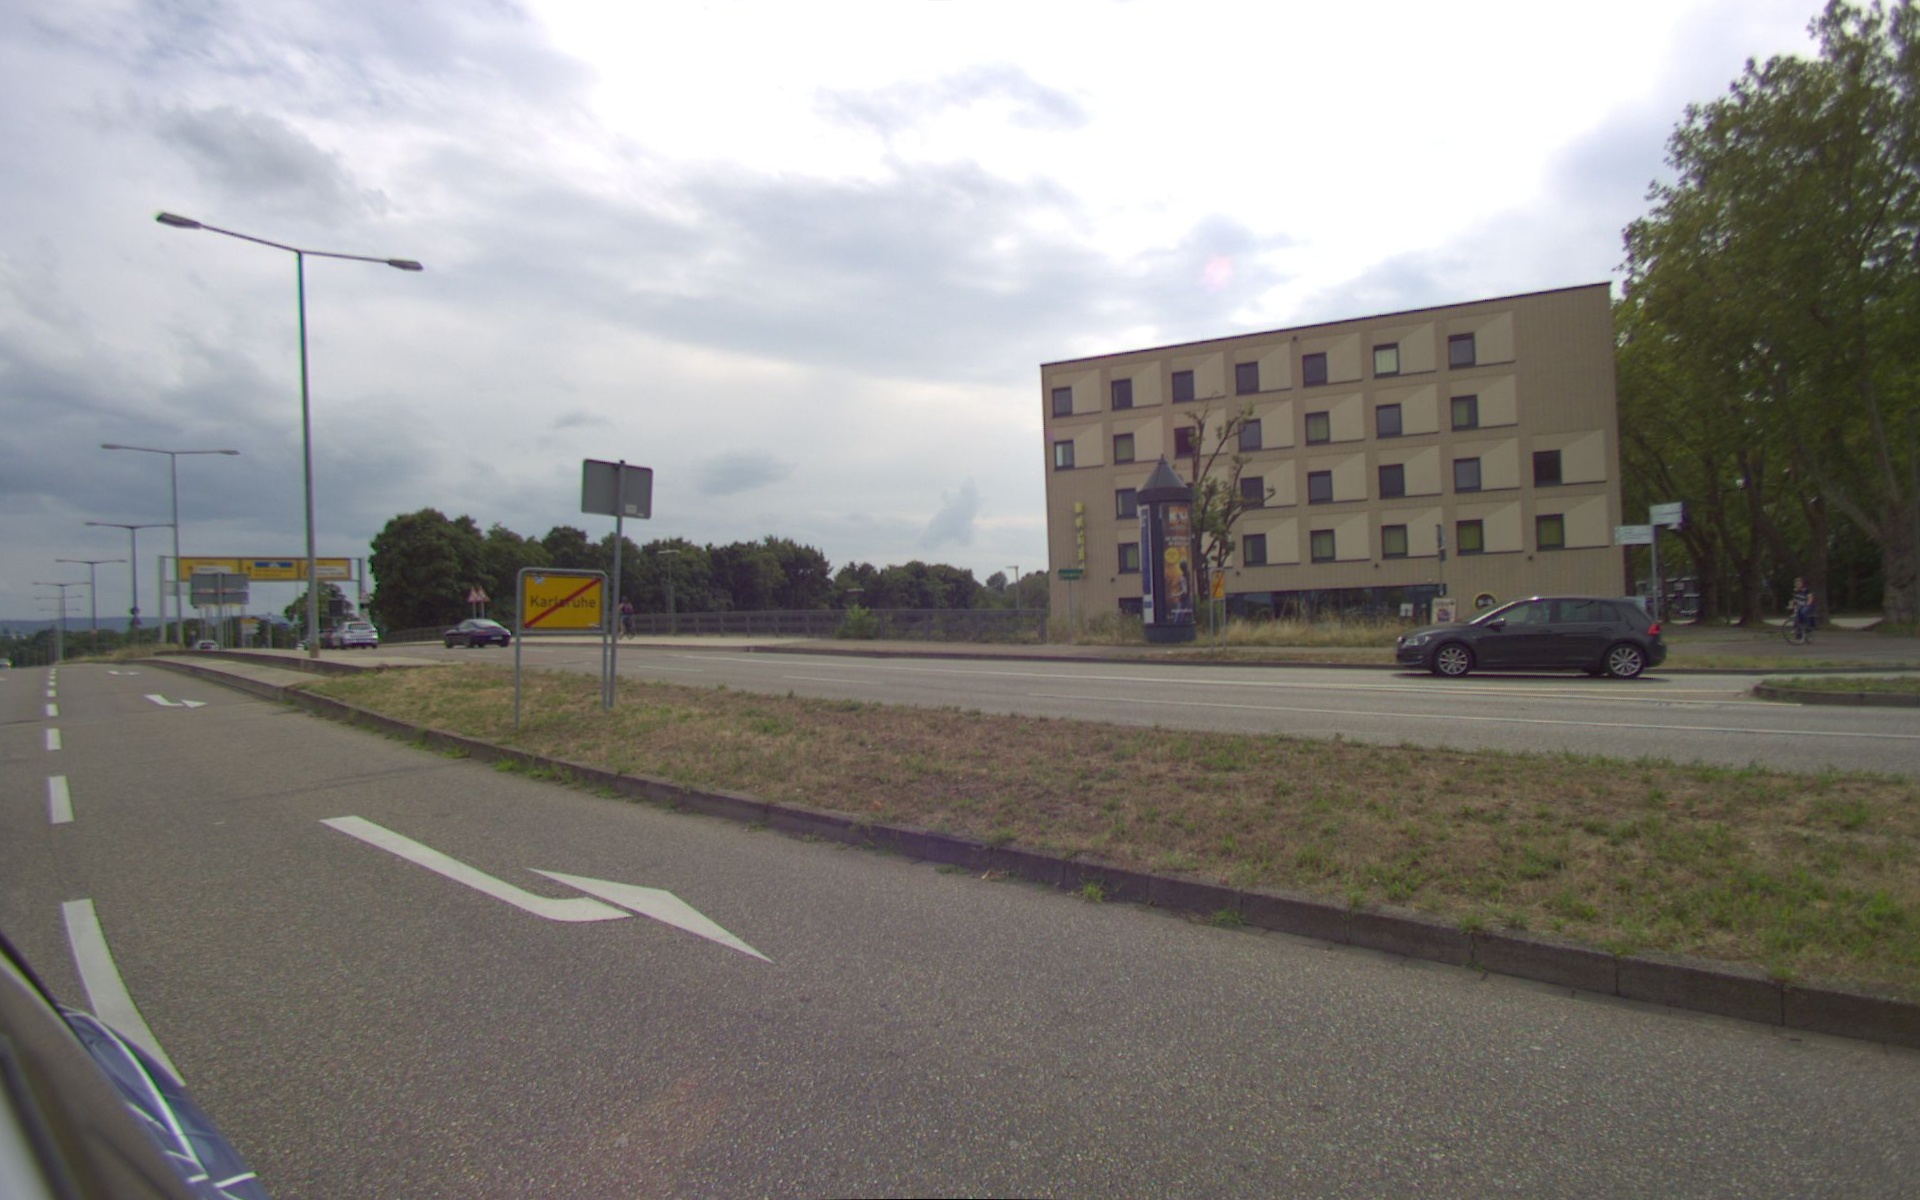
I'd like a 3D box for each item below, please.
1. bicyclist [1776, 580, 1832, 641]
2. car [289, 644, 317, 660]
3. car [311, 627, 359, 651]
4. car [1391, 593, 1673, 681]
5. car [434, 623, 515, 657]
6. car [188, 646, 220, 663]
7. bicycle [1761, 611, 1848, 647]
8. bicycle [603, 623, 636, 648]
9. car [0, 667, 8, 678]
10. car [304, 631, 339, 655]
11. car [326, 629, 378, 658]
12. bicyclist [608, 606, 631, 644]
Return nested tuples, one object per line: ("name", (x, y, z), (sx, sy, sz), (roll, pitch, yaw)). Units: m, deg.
("bicyclist", (23.069, 0.276, 27.657), (0.905, 1.627, 0.744), (-1, -1, -16))
("car", (-63.546, 5.012, 97.936), (1.892, 1.426, 4.896), (0, -2, -29))
("car", (-38.125, 2.340, 61.716), (1.721, 1.421, 3.879), (1, -2, -44))
("car", (9.953, 0.653, 17.954), (3.961, 1.429, 1.790), (-1, -1, 14))
("car", (-22.151, 1.790, 46.069), (4.351, 1.457, 1.802), (-2, 0, 42))
("car", (-69.575, 4.974, 93.099), (1.788, 1.426, 4.032), (0, -1, -45))
("bicycle", (23.051, 0.789, 27.632), (2.083, 0.916, 0.744), (-1, -1, -16))
("bicycle", (-15.453, 1.609, 45.879), (0.676, 1.061, 1.997), (-1, -1, -42))
("car", (-125.298, 9.503, 131.831), (1.834, 1.353, 4.004), (-1, -1, -42))
("car", (-46.819, 3.127, 74.130), (1.719, 1.671, 4.087), (1, -2, -39))
("car", (-31.872, 2.238, 53.010), (1.597, 1.421, 3.864), (1, -2, -43))
("bicyclist", (-15.426, 1.119, 45.857), (0.676, 1.684, 0.848), (-1, -1, -42))
